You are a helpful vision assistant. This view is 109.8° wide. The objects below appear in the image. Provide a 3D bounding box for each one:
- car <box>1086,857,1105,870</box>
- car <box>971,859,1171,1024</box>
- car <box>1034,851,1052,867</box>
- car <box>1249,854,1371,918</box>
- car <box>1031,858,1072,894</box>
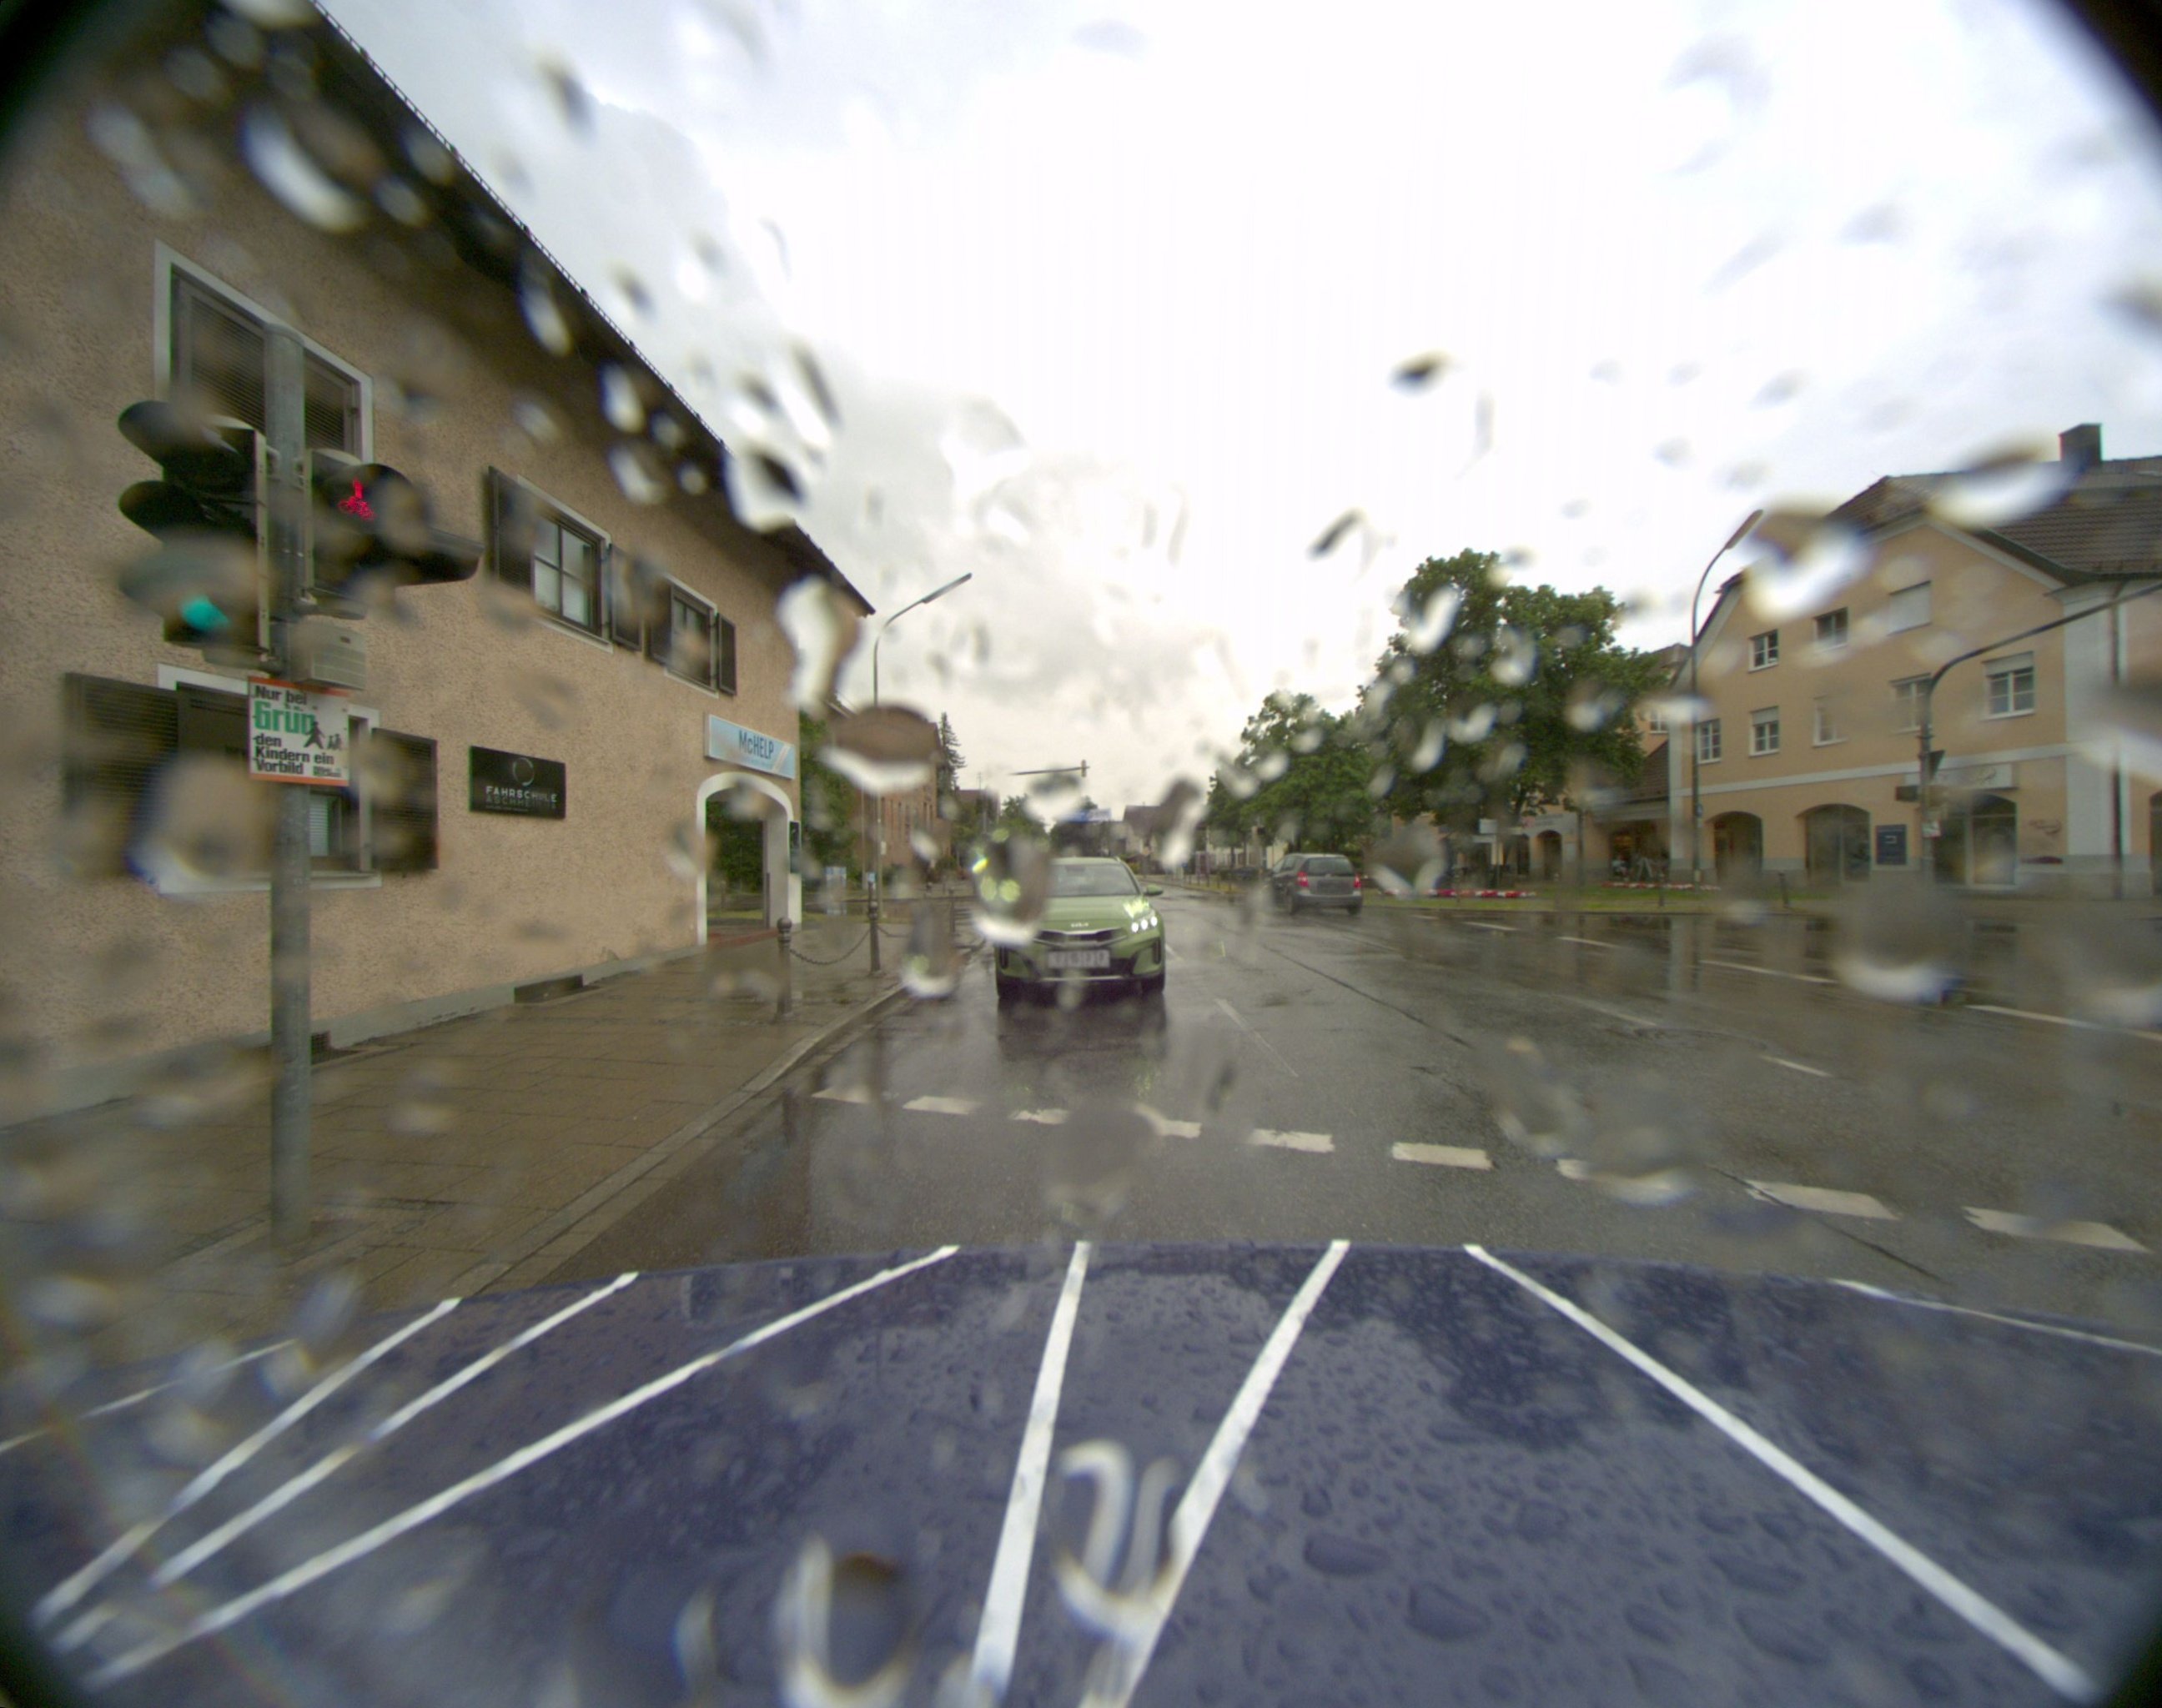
[{"bbox_3d":[1.569,1.038,85.689,1.873,1.447,4.104,-1,0,-2],"label":"car"},{"bbox_3d":[-0.066,0.845,9.252,1.872,1.505,4.105,-1,0,1],"label":"car"},{"bbox_3d":[-5.094,0.643,101.593,2.218,1.977,4.952,0,0,-5],"label":"car"},{"bbox_3d":[5.921,0.770,20.136,1.921,1.524,3.898,0,0,-2],"label":"car"},{"bbox_3d":[-1.361,0.944,34.651,1.736,1.489,4.609,0,0,-3],"label":"car"}]
